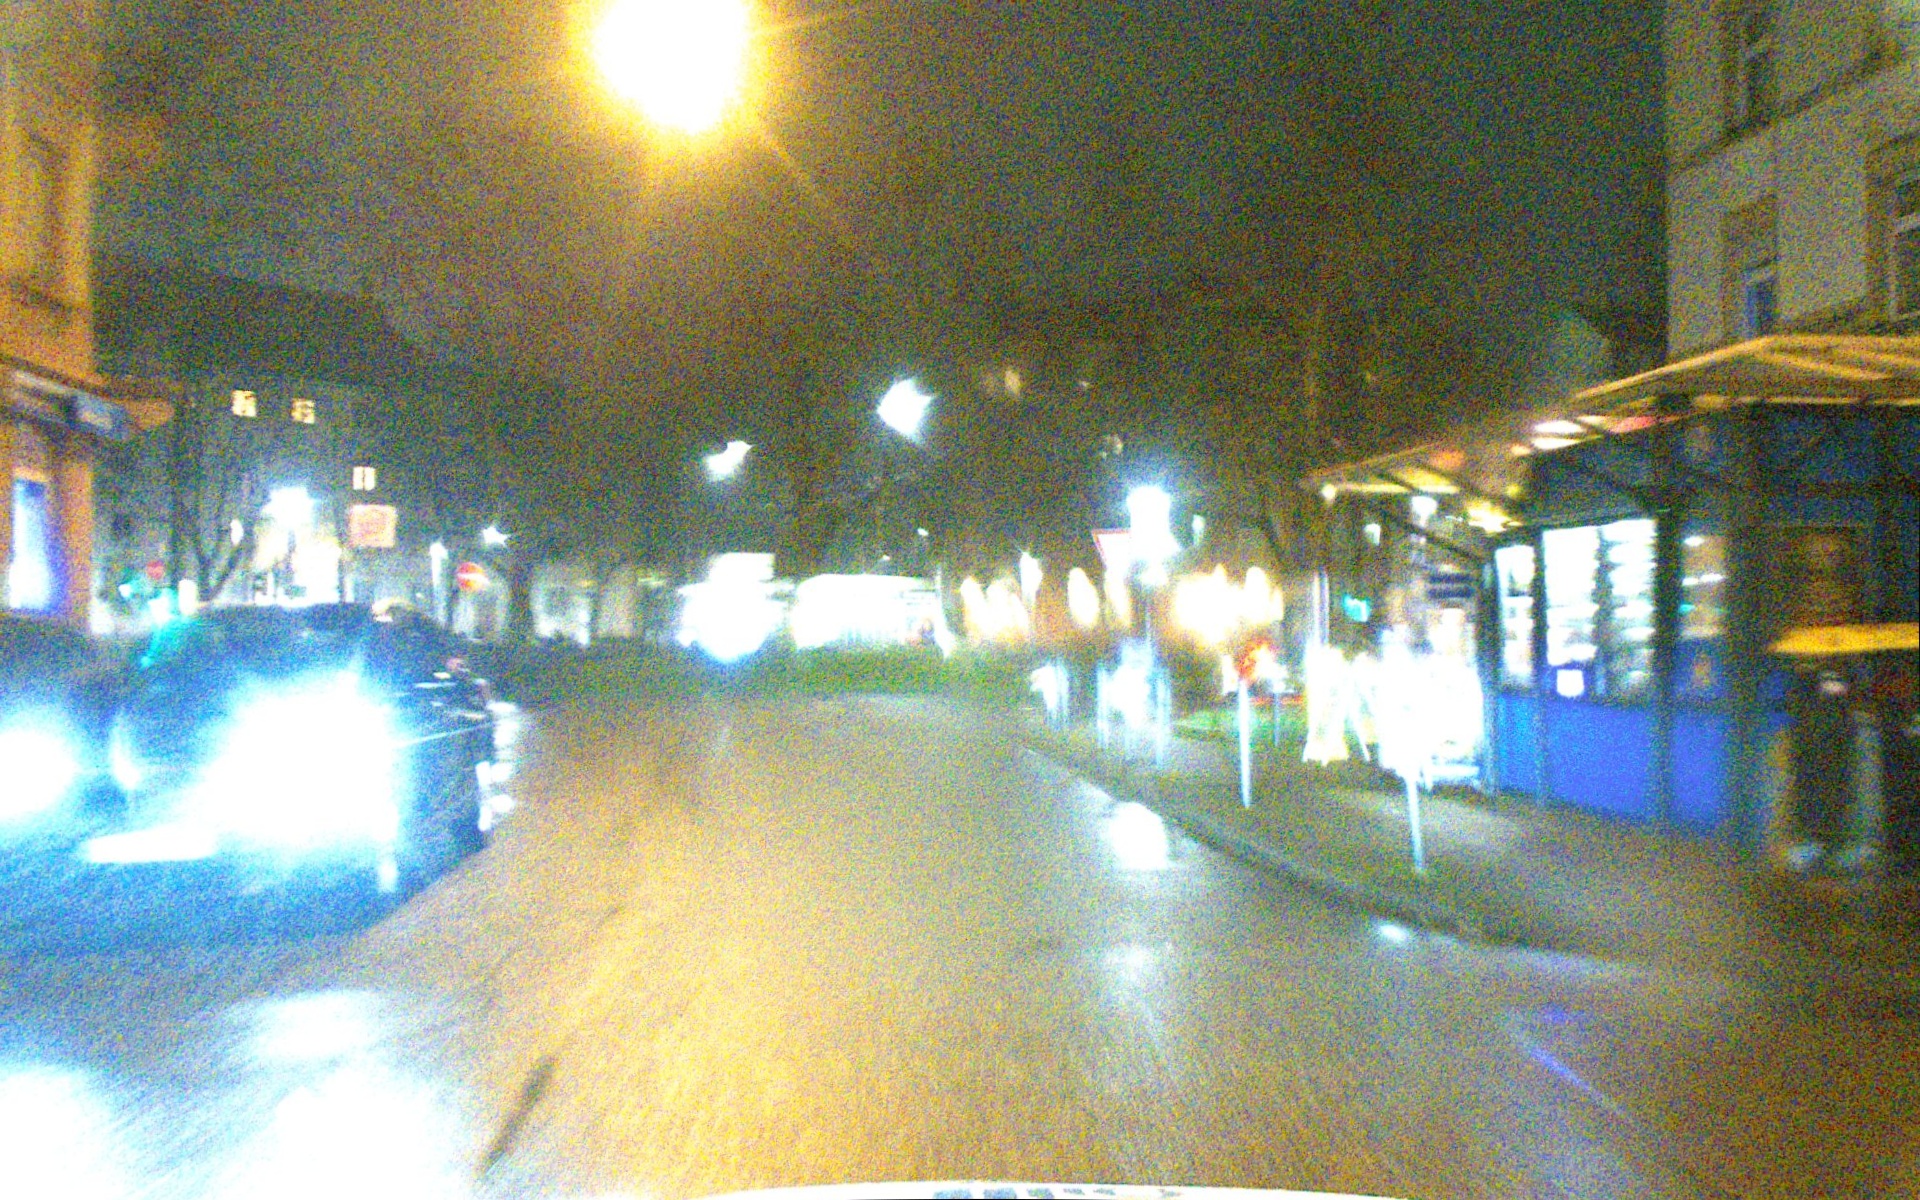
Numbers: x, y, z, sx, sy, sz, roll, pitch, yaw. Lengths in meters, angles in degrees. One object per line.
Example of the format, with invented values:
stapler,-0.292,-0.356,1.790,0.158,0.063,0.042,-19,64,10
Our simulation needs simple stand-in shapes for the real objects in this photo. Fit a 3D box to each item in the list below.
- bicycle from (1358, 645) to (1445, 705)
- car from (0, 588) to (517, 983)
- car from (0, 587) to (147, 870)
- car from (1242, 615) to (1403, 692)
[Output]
bicycle,8.369,1.409,31.407,0.446,1.078,1.640,0,-1,-39
car,-3.856,0.819,9.488,1.884,1.646,4.567,-2,0,-7
car,-6.816,0.794,10.131,1.797,1.747,4.588,0,-1,-6
car,8.252,1.226,37.581,3.421,1.642,1.715,3,-2,-35
